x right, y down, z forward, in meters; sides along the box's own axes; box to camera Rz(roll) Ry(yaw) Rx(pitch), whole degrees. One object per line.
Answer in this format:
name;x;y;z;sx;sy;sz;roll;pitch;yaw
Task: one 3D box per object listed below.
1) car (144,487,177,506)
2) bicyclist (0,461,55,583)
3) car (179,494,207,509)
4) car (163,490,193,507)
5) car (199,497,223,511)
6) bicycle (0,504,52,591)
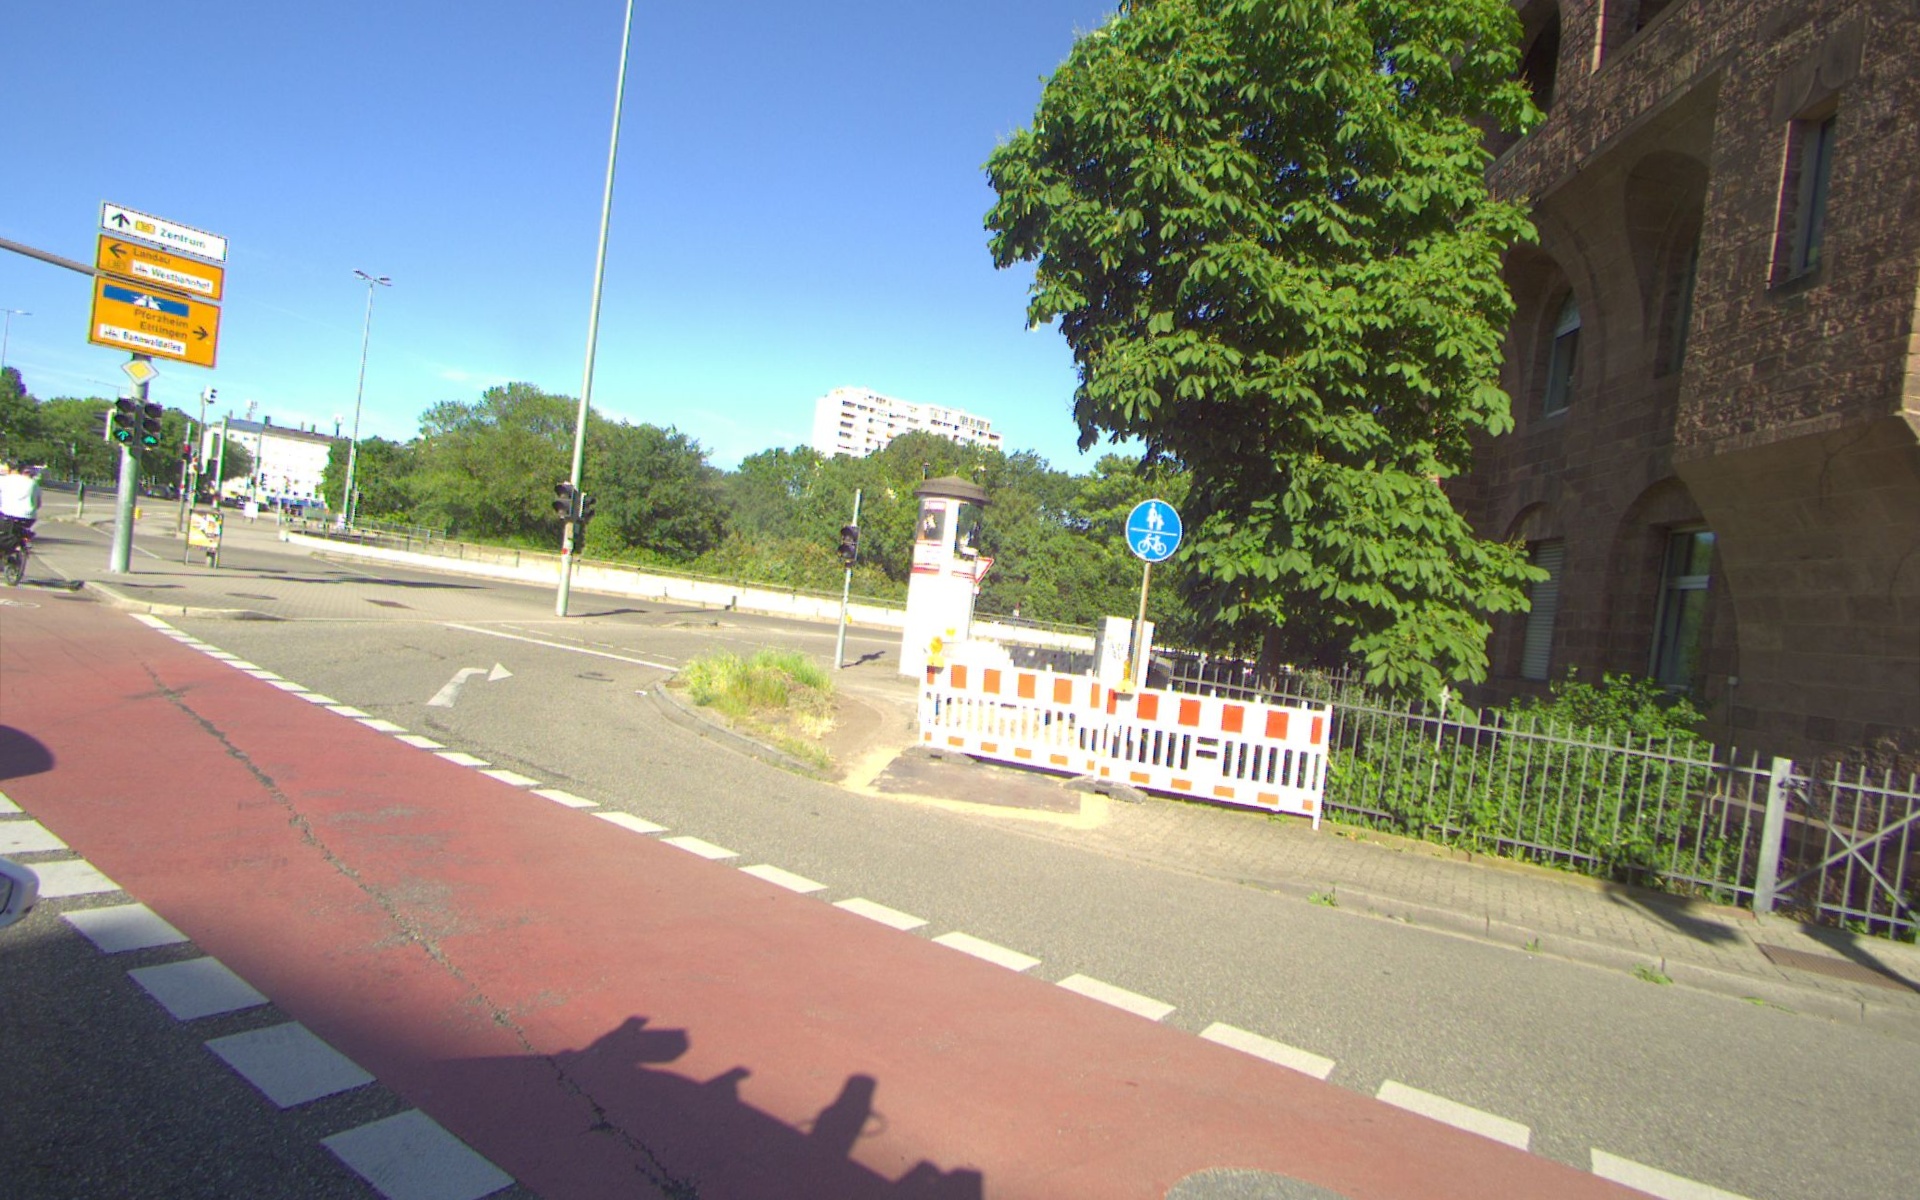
car;-82.760;-10.659;104.178;1.931;1.547;4.064;7;0;-30
bicyclist;-13.990;-1.178;14.772;1.096;1.680;0.724;9;1;39
car;-93.503;-11.997;122.679;1.930;1.547;4.065;7;0;-29
car;-85.829;-11.127;110.441;1.930;1.547;4.065;7;0;-29
car;-101.315;-12.961;136.165;1.930;1.547;4.065;7;0;-29
bicycle;-14.064;-0.817;14.798;1.799;1.115;0.691;8;0;39
